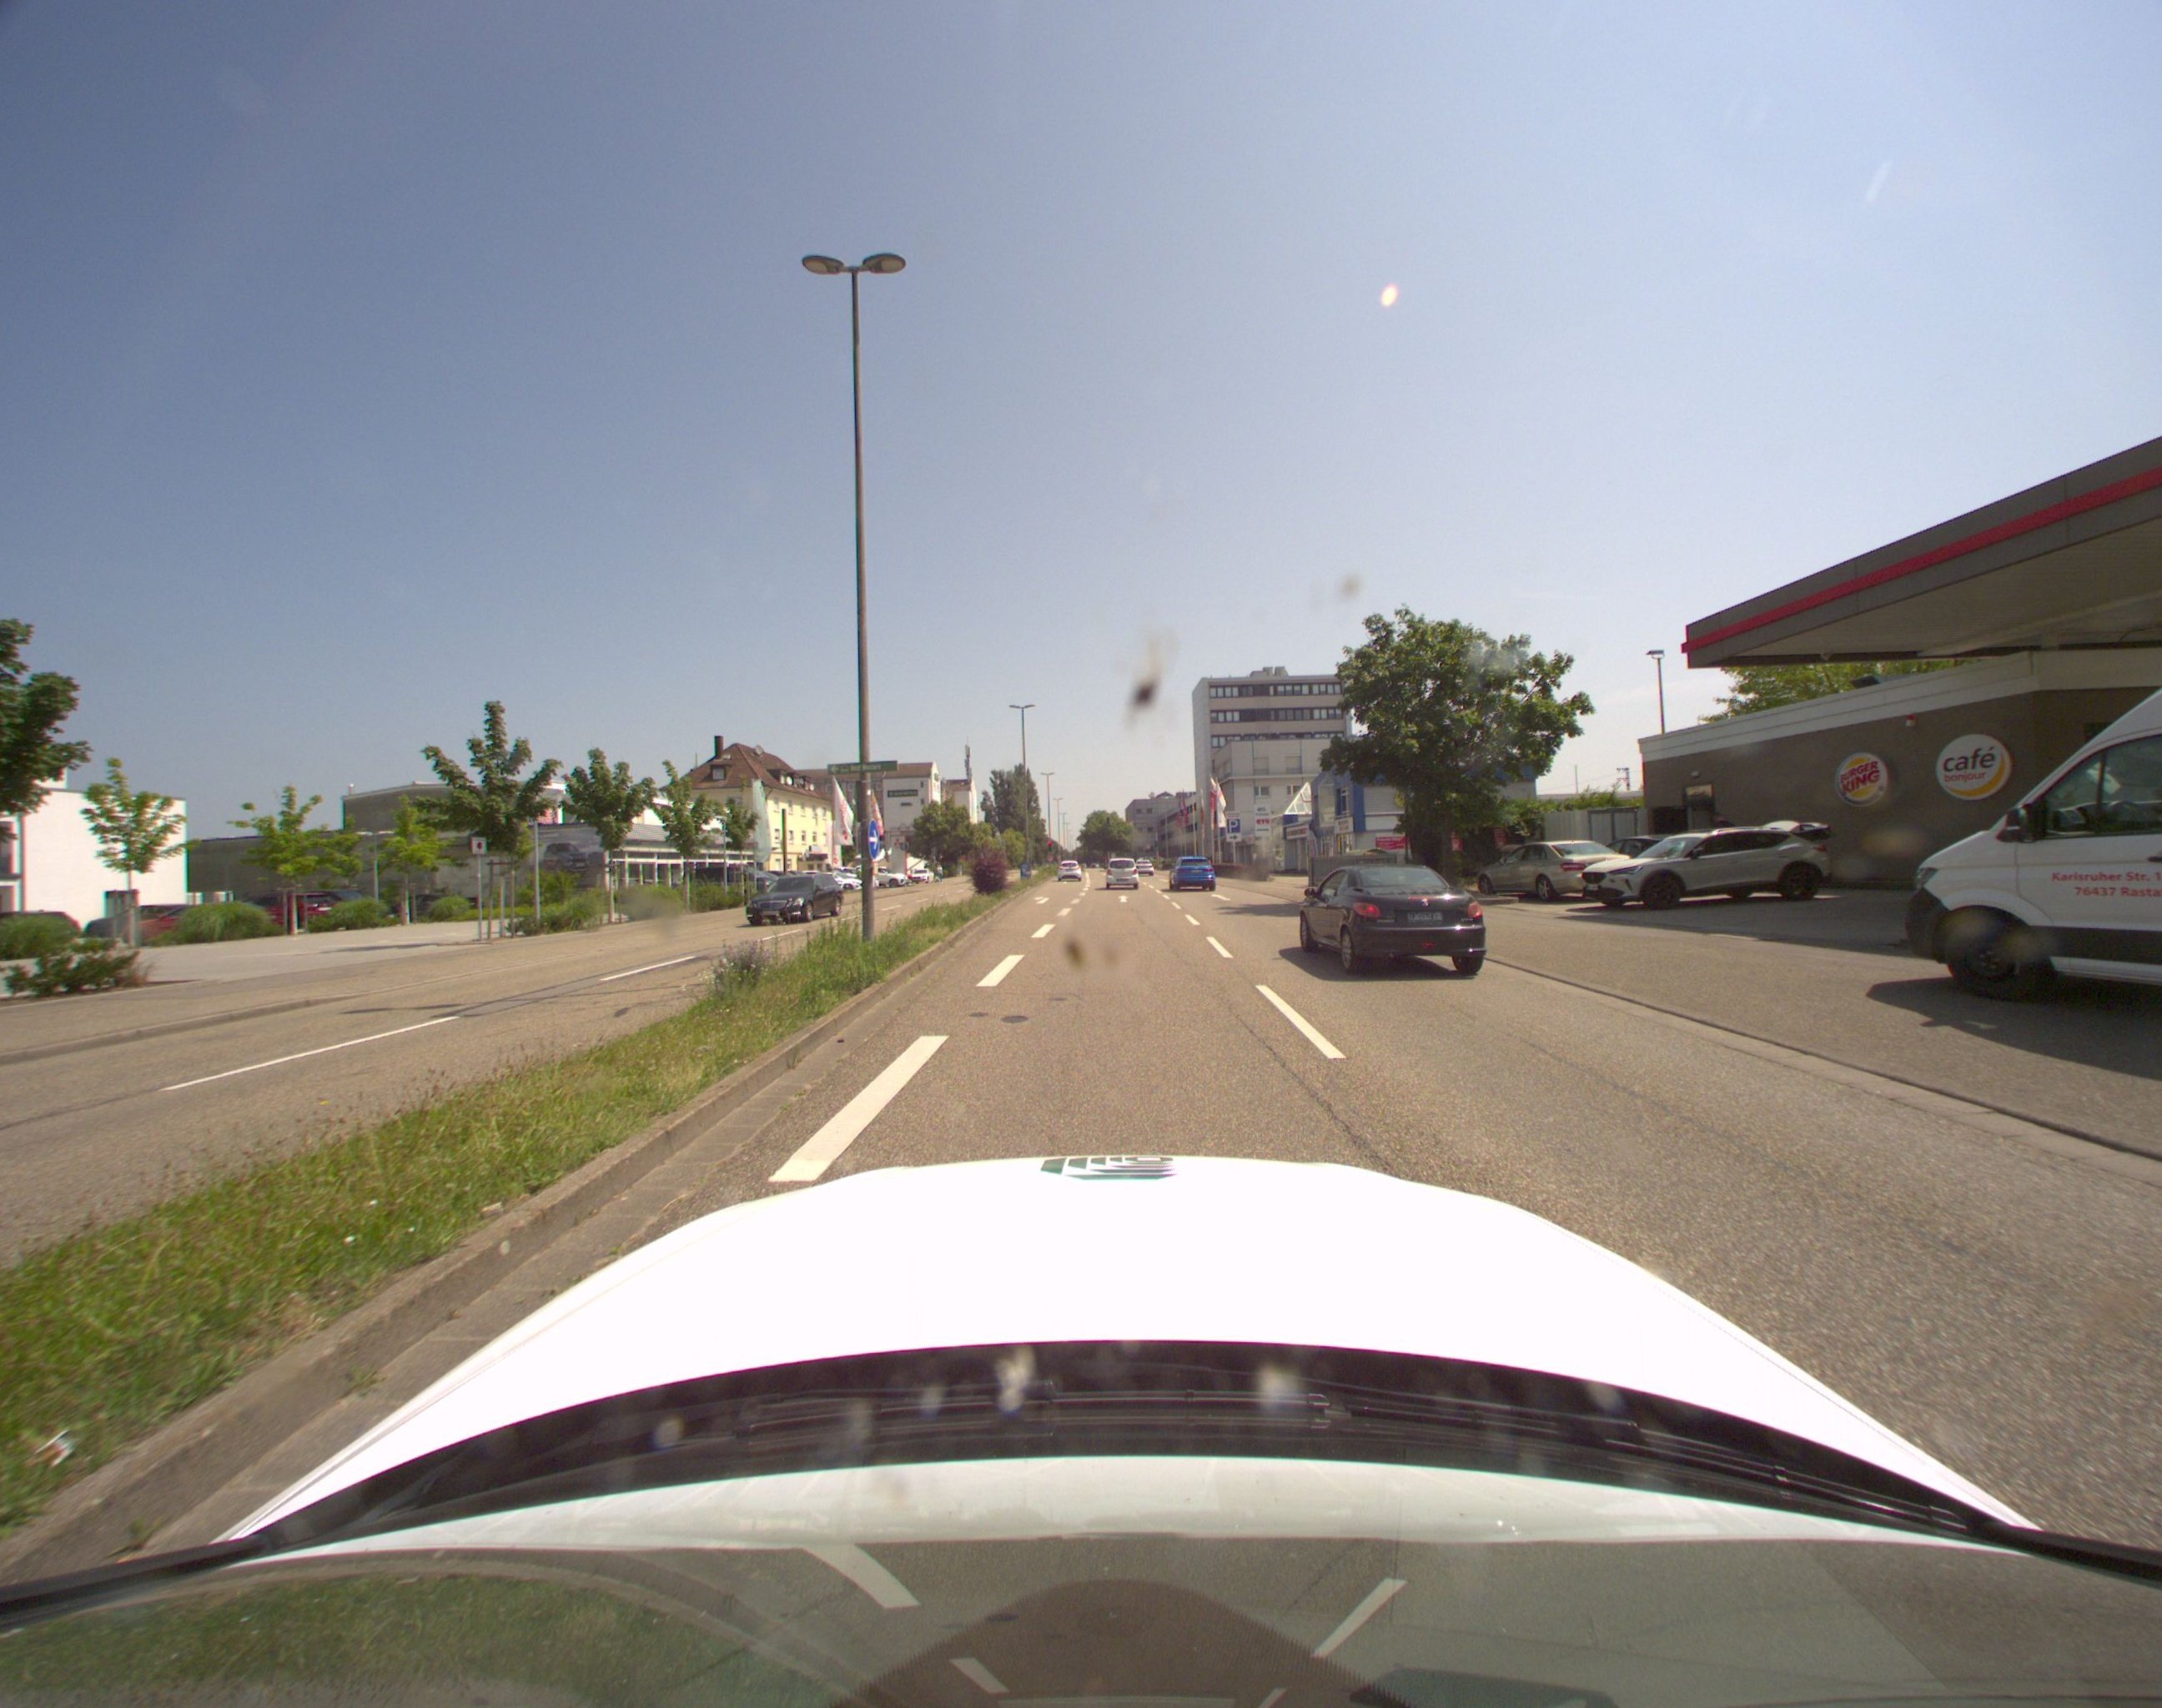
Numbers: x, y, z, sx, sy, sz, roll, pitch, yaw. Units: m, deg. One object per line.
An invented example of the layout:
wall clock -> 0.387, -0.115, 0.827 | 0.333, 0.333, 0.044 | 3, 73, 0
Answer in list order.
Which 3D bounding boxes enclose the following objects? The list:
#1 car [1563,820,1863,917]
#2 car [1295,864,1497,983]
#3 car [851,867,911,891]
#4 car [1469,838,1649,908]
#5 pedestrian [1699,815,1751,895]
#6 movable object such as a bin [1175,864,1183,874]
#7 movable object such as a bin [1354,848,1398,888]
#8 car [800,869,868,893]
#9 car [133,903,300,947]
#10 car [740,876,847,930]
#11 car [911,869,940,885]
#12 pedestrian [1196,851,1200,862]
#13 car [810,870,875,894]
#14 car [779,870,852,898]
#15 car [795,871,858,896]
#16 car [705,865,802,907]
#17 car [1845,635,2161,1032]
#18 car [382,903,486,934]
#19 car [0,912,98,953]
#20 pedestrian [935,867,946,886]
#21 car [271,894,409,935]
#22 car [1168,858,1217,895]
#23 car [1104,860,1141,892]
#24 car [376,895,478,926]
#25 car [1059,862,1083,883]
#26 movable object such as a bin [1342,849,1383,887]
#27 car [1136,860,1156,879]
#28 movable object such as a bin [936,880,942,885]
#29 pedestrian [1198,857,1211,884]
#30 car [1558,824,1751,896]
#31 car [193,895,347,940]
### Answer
car -> 12.879, 0.293, 16.834 | 4.605, 1.527, 1.908 | -4, -1, 1
car -> 4.191, 0.848, 11.423 | 1.620, 1.364, 3.609 | -1, -1, 4
car -> -16.774, 2.098, 68.487 | 4.534, 1.709, 1.759 | -3, -1, -2
car -> 12.105, 0.459, 21.062 | 1.788, 1.466, 4.634 | -4, -1, -1
pedestrian -> 16.620, 0.021, 21.039 | 0.699, 2.014, 0.821 | 0, -1, 3
movable object such as a bin -> 9.259, 1.385, 76.937 | 0.549, 0.919, 0.652 | -5, -1, 0
movable object such as a bin -> 11.585, 0.547, 32.007 | 1.127, 1.470, 1.489 | -3, -1, 0
car -> -16.646, 1.816, 54.984 | 3.976, 1.394, 1.859 | -2, -1, -2
car -> -31.672, 2.568, 29.927 | 3.978, 1.314, 1.845 | -2, -1, -4
car -> -9.201, 1.514, 26.515 | 1.822, 1.461, 4.710 | -3, -1, -1
car -> -15.436, 2.273, 81.106 | 1.768, 1.410, 4.762 | -2, -1, 3
pedestrian -> 17.504, 0.376, 121.634 | 0.589, 1.634, 0.524 | -3, -1, 8
car -> -16.742, 1.933, 57.223 | 3.976, 1.467, 1.759 | -2, -1, -2
car -> -16.977, 1.895, 52.172 | 3.976, 1.608, 1.924 | -2, -1, -2
car -> -18.457, 2.115, 59.018 | 4.015, 1.624, 1.742 | -2, -1, -33
car -> -16.322, 1.587, 40.789 | 3.976, 1.882, 1.999 | -2, -1, -2
car -> 8.642, -0.224, 4.289 | 2.171, 2.773, 7.275 | -4, -1, -1
car -> -31.409, 3.134, 39.590 | 3.699, 1.245, 1.650 | -2, -1, 1
car -> -43.434, 3.225, 33.278 | 3.980, 1.453, 1.876 | -2, -1, -5
pedestrian -> -12.934, 2.048, 74.943 | 0.738, 1.747, 1.034 | -2, -1, 2
car -> -31.431, 2.542, 34.632 | 3.980, 1.453, 1.876 | -2, -1, -5
car -> 5.110, 1.008, 37.783 | 1.821, 1.580, 3.606 | -2, -1, 1
car -> 2.051, 1.090, 41.273 | 1.742, 1.520, 3.746 | -1, -1, 1
car -> -30.103, 2.607, 37.530 | 3.506, 1.224, 1.732 | -2, -1, 10
car -> -0.708, 1.298, 59.475 | 1.683, 1.434, 3.711 | -2, -1, 0
movable object such as a bin -> 11.613, 0.565, 33.612 | 1.127, 1.470, 1.489 | -3, -1, 0
car -> 5.724, 1.353, 71.921 | 1.553, 1.520, 3.608 | -2, -1, 3
movable object such as a bin -> -13.015, 2.596, 74.522 | 0.415, 0.372, 0.506 | -2, -1, 1
pedestrian -> 8.714, 1.150, 57.504 | 0.782, 1.847, 0.936 | -2, -1, 2
car -> 14.735, 0.168, 21.261 | 1.895, 1.536, 4.249 | -4, -1, -1
car -> -31.893, 2.479, 32.127 | 3.980, 1.453, 1.876 | -2, -1, -5
